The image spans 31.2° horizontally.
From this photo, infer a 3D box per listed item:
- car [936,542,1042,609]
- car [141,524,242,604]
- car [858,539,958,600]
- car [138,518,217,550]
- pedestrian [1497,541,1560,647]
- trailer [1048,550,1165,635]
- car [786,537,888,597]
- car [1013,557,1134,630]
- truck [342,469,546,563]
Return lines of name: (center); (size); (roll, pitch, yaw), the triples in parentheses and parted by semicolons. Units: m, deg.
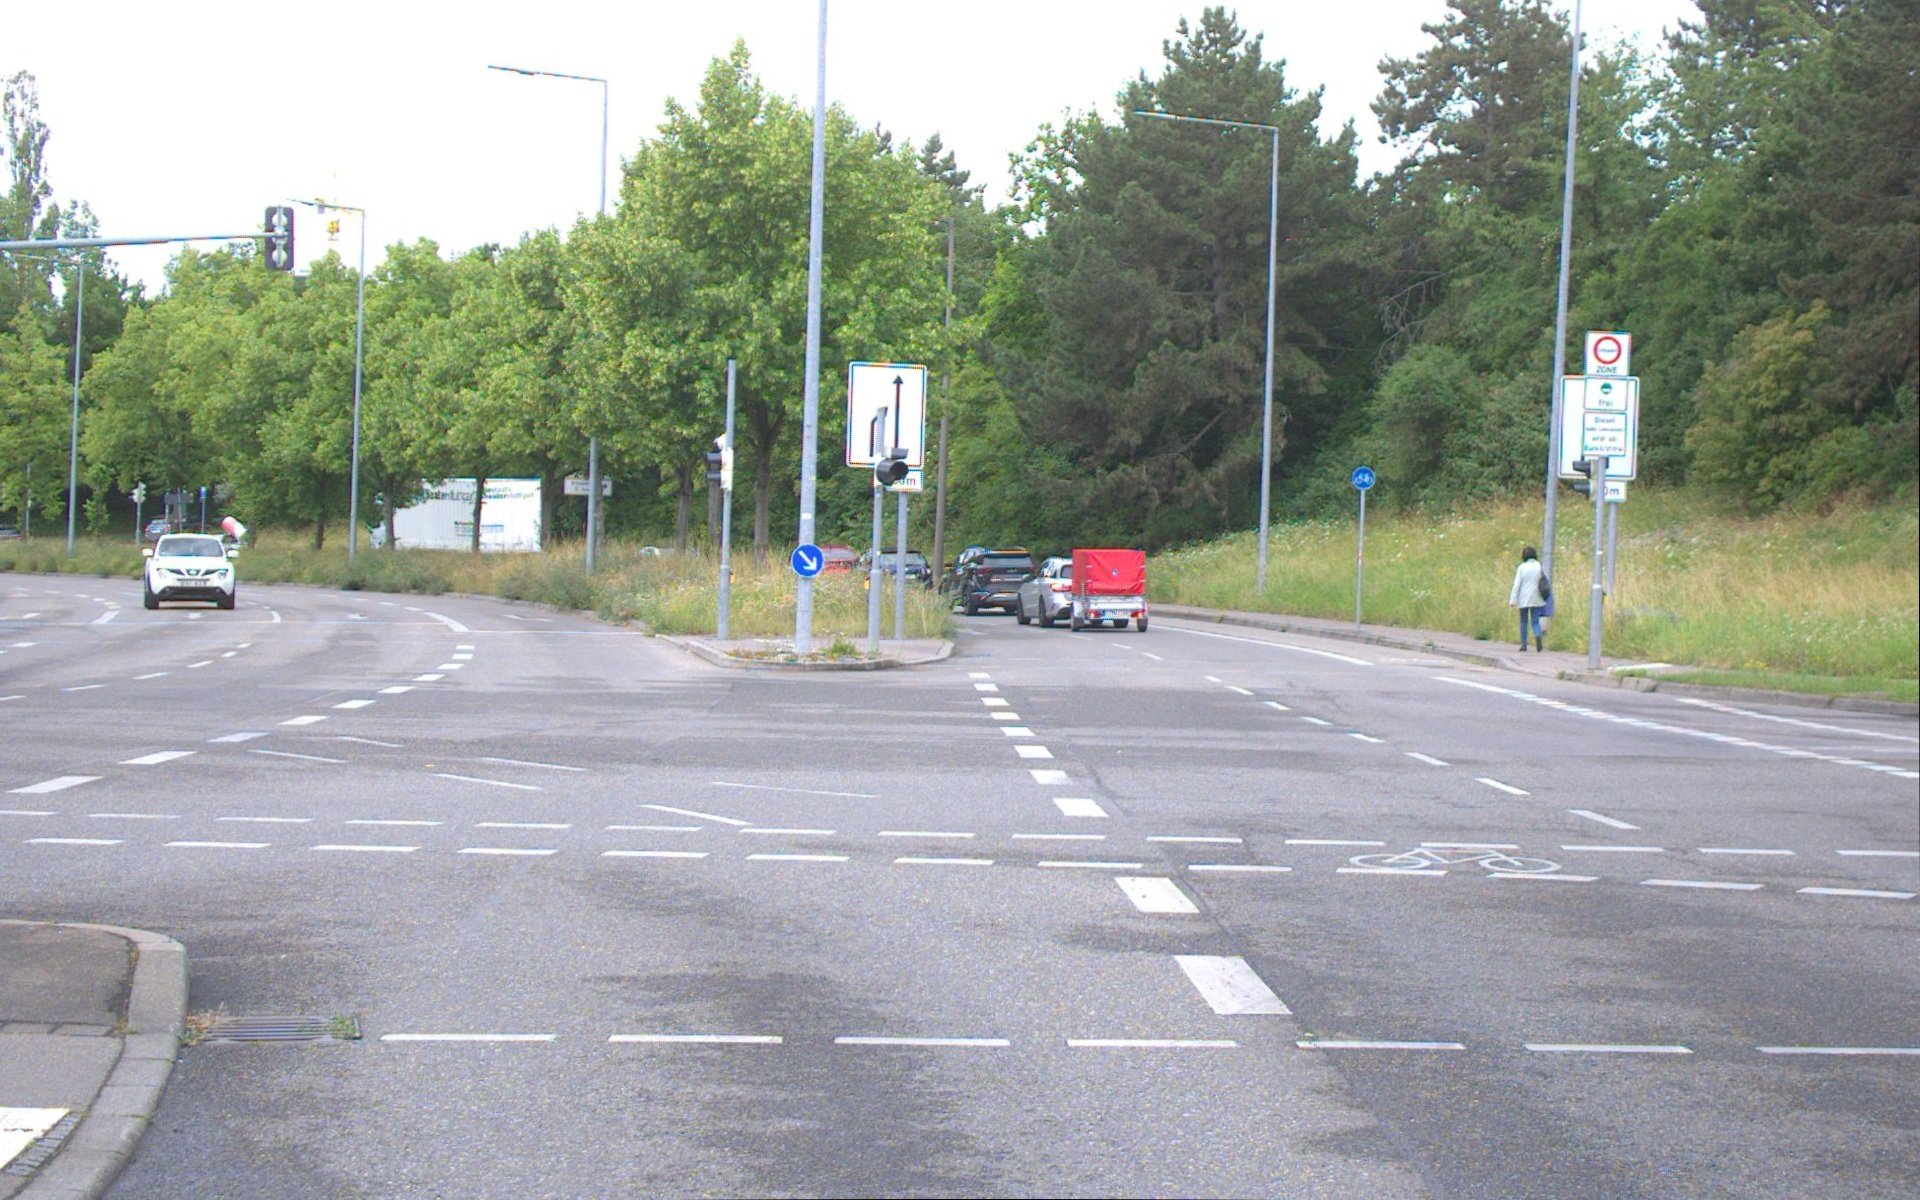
car: (0.672, -0.603, 82.834); (1.777, 1.541, 4.026); (1, 1, -11)
car: (-16.055, -0.775, 71.970); (1.828, 1.623, 4.427); (0, 1, -10)
car: (-1.422, -0.826, 92.113); (1.777, 1.541, 4.026); (0, 1, -14)
car: (-38.667, -3.236, 169.953); (1.780, 1.541, 4.020); (1, 1, 23)
pedestrian: (8.842, -0.096, 53.508); (0.814, 1.622, 0.791); (1, 1, -1)
trailer: (2.897, -0.170, 68.506); (1.764, 1.610, 3.045); (1, 1, -8)
car: (-3.565, -0.980, 99.057); (1.777, 1.541, 4.026); (-1, 3, -20)
car: (2.347, -0.151, 72.210); (1.777, 1.416, 4.460); (1, 1, -8)
truck: (-19.207, -3.111, 127.163); (2.740, 3.317, 11.406); (0, 1, -34)
